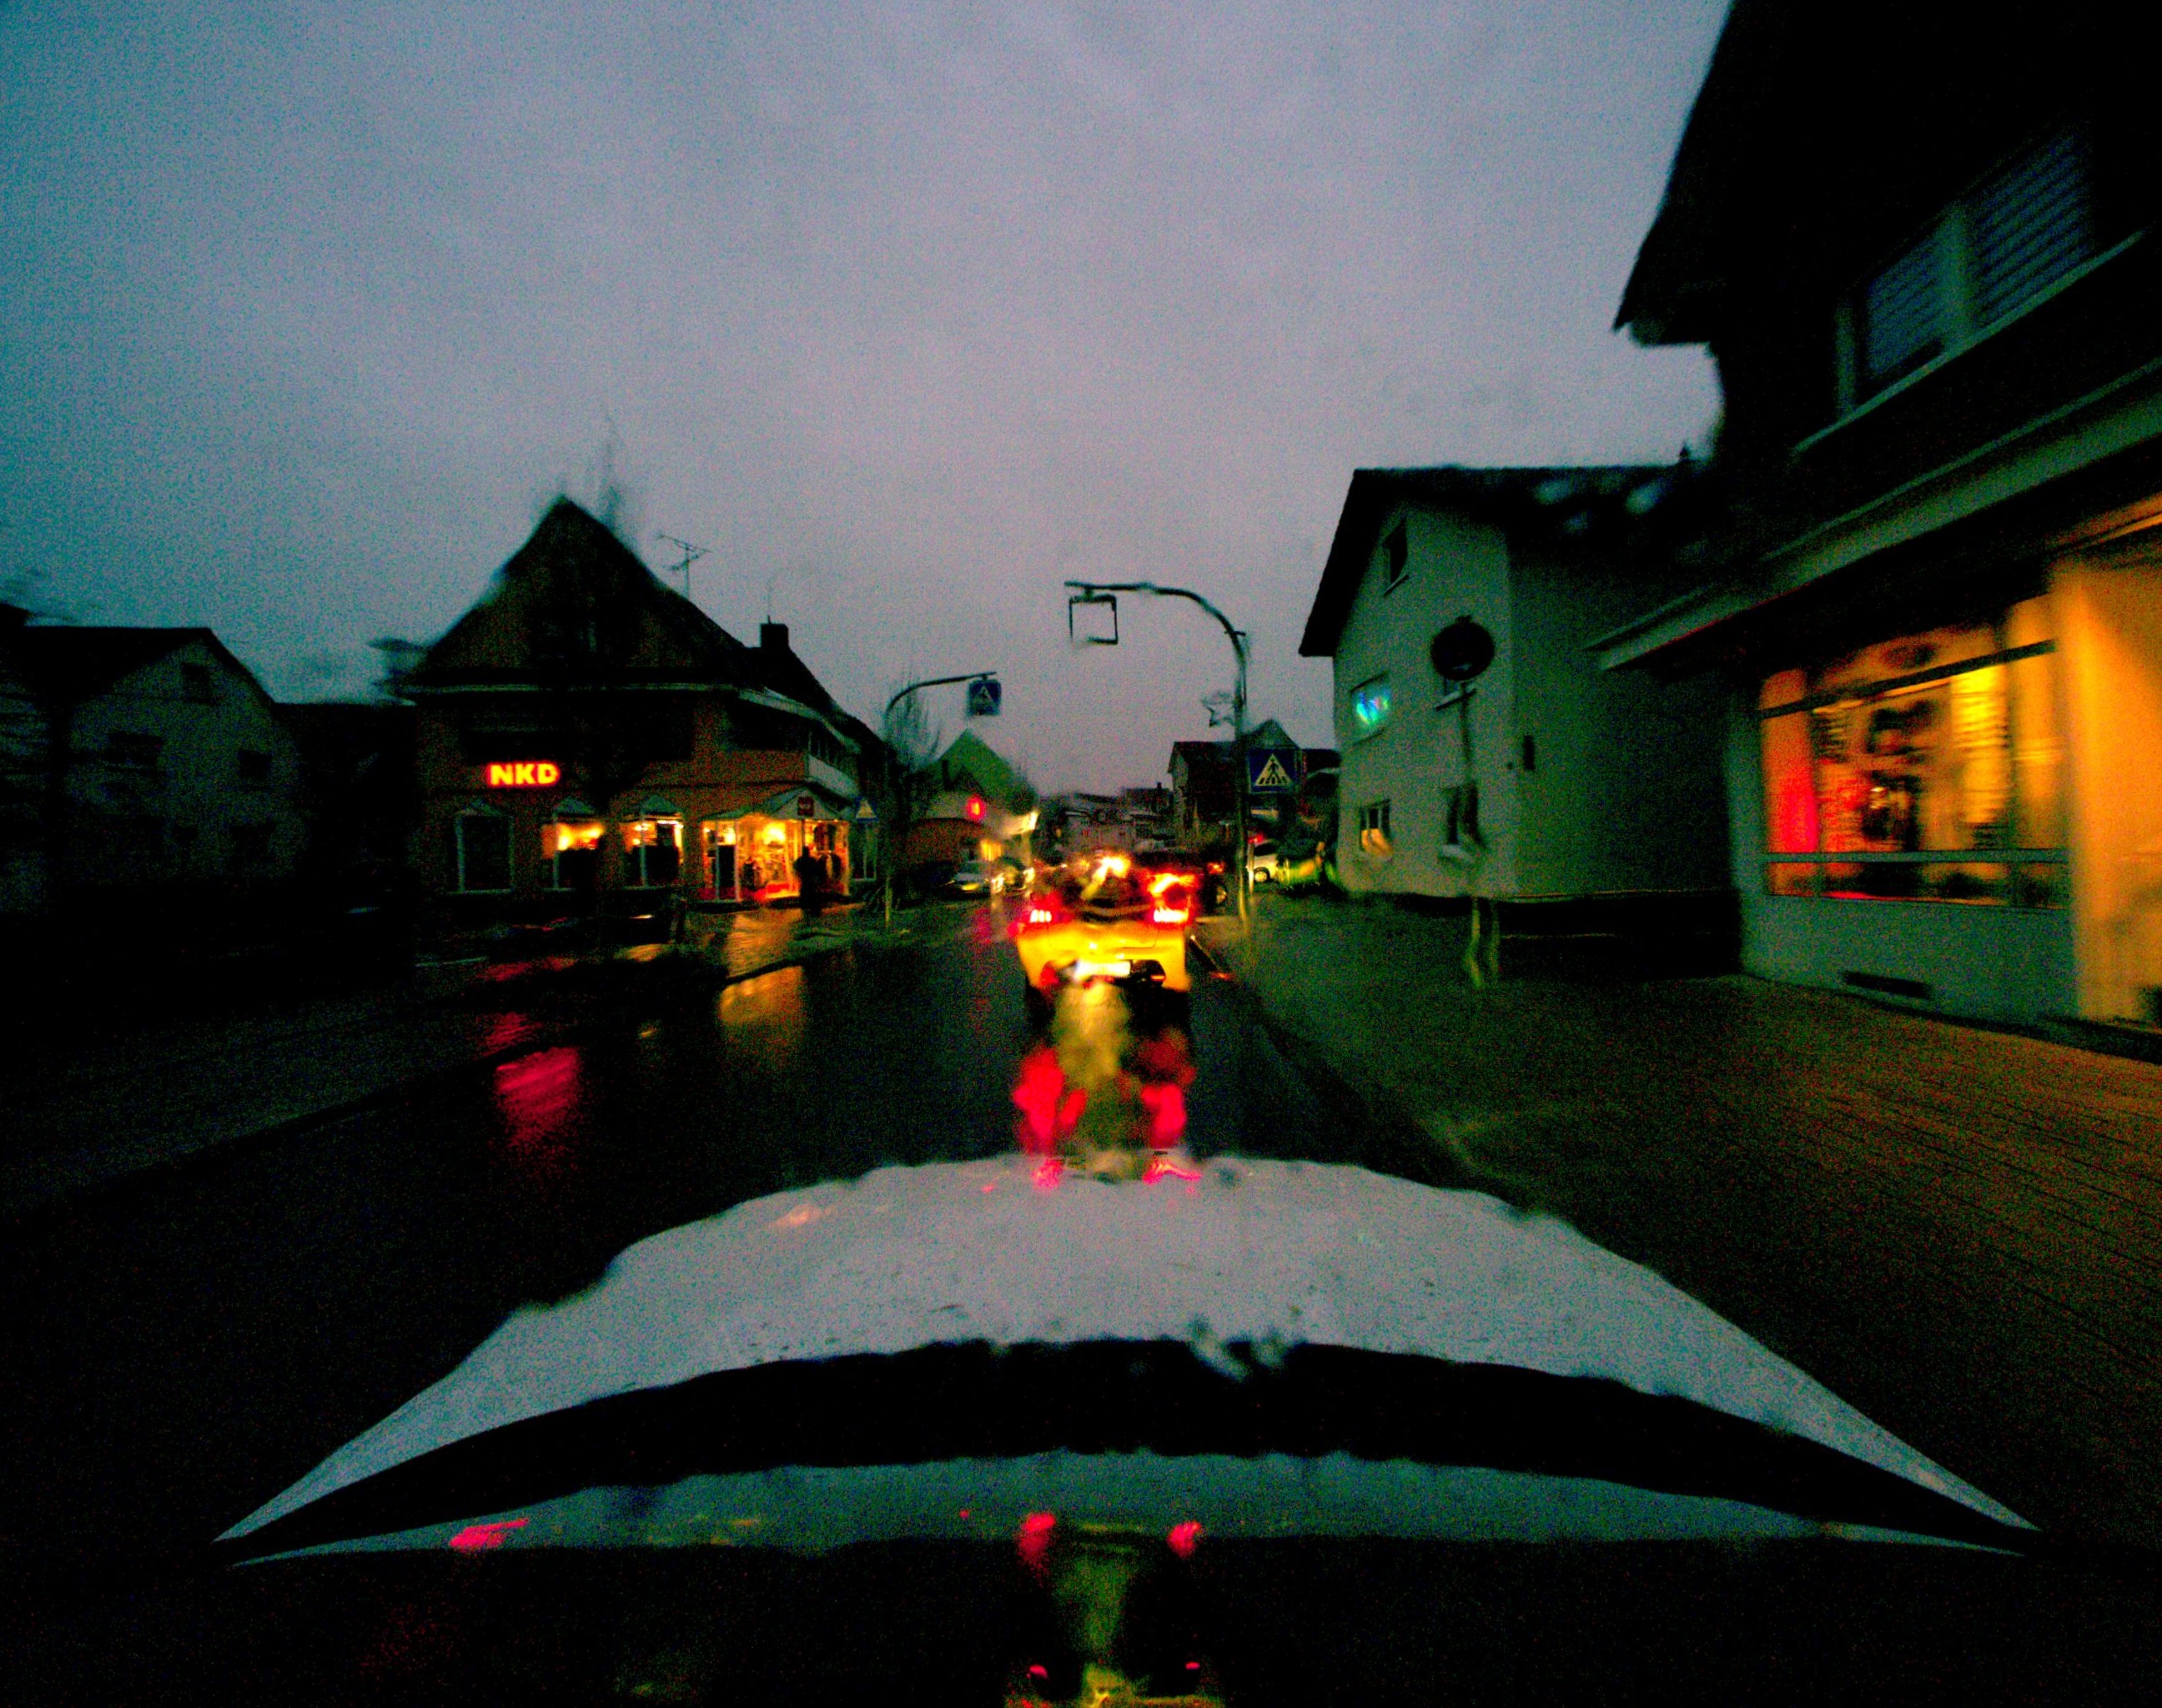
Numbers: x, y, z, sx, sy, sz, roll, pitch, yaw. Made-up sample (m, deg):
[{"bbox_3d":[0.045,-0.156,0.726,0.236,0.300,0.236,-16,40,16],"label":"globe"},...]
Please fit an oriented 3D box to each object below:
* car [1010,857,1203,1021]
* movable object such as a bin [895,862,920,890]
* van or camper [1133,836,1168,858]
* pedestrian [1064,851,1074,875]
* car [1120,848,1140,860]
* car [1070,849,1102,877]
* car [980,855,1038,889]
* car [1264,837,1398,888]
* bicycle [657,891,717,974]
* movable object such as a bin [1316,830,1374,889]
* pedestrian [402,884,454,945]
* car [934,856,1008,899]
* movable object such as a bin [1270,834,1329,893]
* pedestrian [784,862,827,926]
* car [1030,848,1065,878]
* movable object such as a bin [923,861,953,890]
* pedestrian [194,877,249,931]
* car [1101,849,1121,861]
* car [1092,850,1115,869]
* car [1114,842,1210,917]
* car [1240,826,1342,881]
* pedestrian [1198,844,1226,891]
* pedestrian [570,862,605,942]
[{"bbox_3d":[0.322,0.810,9.679,1.807,1.533,4.002,-1,0,2],"label":"car"},{"bbox_3d":[-8.877,1.122,41.717,1.149,1.354,0.849,-1,0,-7],"label":"movable object such as a bin"},{"bbox_3d":[10.565,-1.028,125.149,2.659,3.047,6.691,-5,1,-19],"label":"van or camper"},{"bbox_3d":[-0.817,0.614,56.406,0.572,1.585,0.530,-2,1,2],"label":"pedestrian"},{"bbox_3d":[7.451,0.026,124.532,1.994,1.610,4.159,-4,-1,-11],"label":"car"},{"bbox_3d":[0.363,0.555,54.497,1.986,1.705,4.970,0,1,2],"label":"car"},{"bbox_3d":[-3.418,0.824,39.697,1.985,1.522,4.983,-2,0,4],"label":"car"},{"bbox_3d":[8.245,0.291,27.194,3.966,1.486,1.916,-3,-1,6],"label":"car"},{"bbox_3d":[-6.074,1.176,12.619,0.324,1.061,1.737,-7,2,-12],"label":"bicycle"},{"bbox_3d":[7.979,0.158,24.665,1.281,1.644,1.185,-4,0,1],"label":"movable object such as a bin"},{"bbox_3d":[-14.164,1.285,17.658,0.815,1.245,0.691,0,0,37],"label":"pedestrian"},{"bbox_3d":[-4.257,0.860,32.332,1.984,1.558,4.626,-1,0,4],"label":"car"},{"bbox_3d":[6.628,0.272,24.767,1.388,1.644,1.262,-4,0,1],"label":"movable object such as a bin"},{"bbox_3d":[-7.381,1.041,21.885,0.824,1.658,1.096,0,0,-4],"label":"pedestrian"},{"bbox_3d":[-2.135,0.537,52.845,2.079,1.792,5.023,-1,0,0],"label":"car"},{"bbox_3d":[-7.342,1.080,41.839,1.338,1.354,0.887,-5,-1,-6],"label":"movable object such as a bin"},{"bbox_3d":[-28.533,1.643,27.048,0.916,1.715,0.838,1,0,-10],"label":"pedestrian"},{"bbox_3d":[4.585,0.140,124.321,1.996,1.765,4.331,-4,1,-13],"label":"car"},{"bbox_3d":[2.096,0.475,76.377,1.946,1.547,4.414,1,2,-1],"label":"car"},{"bbox_3d":[1.867,0.559,19.887,1.986,1.625,4.000,-1,0,1],"label":"car"},{"bbox_3d":[9.014,-0.008,35.233,4.064,2.049,2.007,-4,0,12],"label":"car"},{"bbox_3d":[5.343,0.545,33.260,0.963,1.889,1.006,-1,0,1],"label":"pedestrian"},{"bbox_3d":[-12.812,1.225,21.120,0.739,2.014,0.817,0,0,-34],"label":"pedestrian"}]
